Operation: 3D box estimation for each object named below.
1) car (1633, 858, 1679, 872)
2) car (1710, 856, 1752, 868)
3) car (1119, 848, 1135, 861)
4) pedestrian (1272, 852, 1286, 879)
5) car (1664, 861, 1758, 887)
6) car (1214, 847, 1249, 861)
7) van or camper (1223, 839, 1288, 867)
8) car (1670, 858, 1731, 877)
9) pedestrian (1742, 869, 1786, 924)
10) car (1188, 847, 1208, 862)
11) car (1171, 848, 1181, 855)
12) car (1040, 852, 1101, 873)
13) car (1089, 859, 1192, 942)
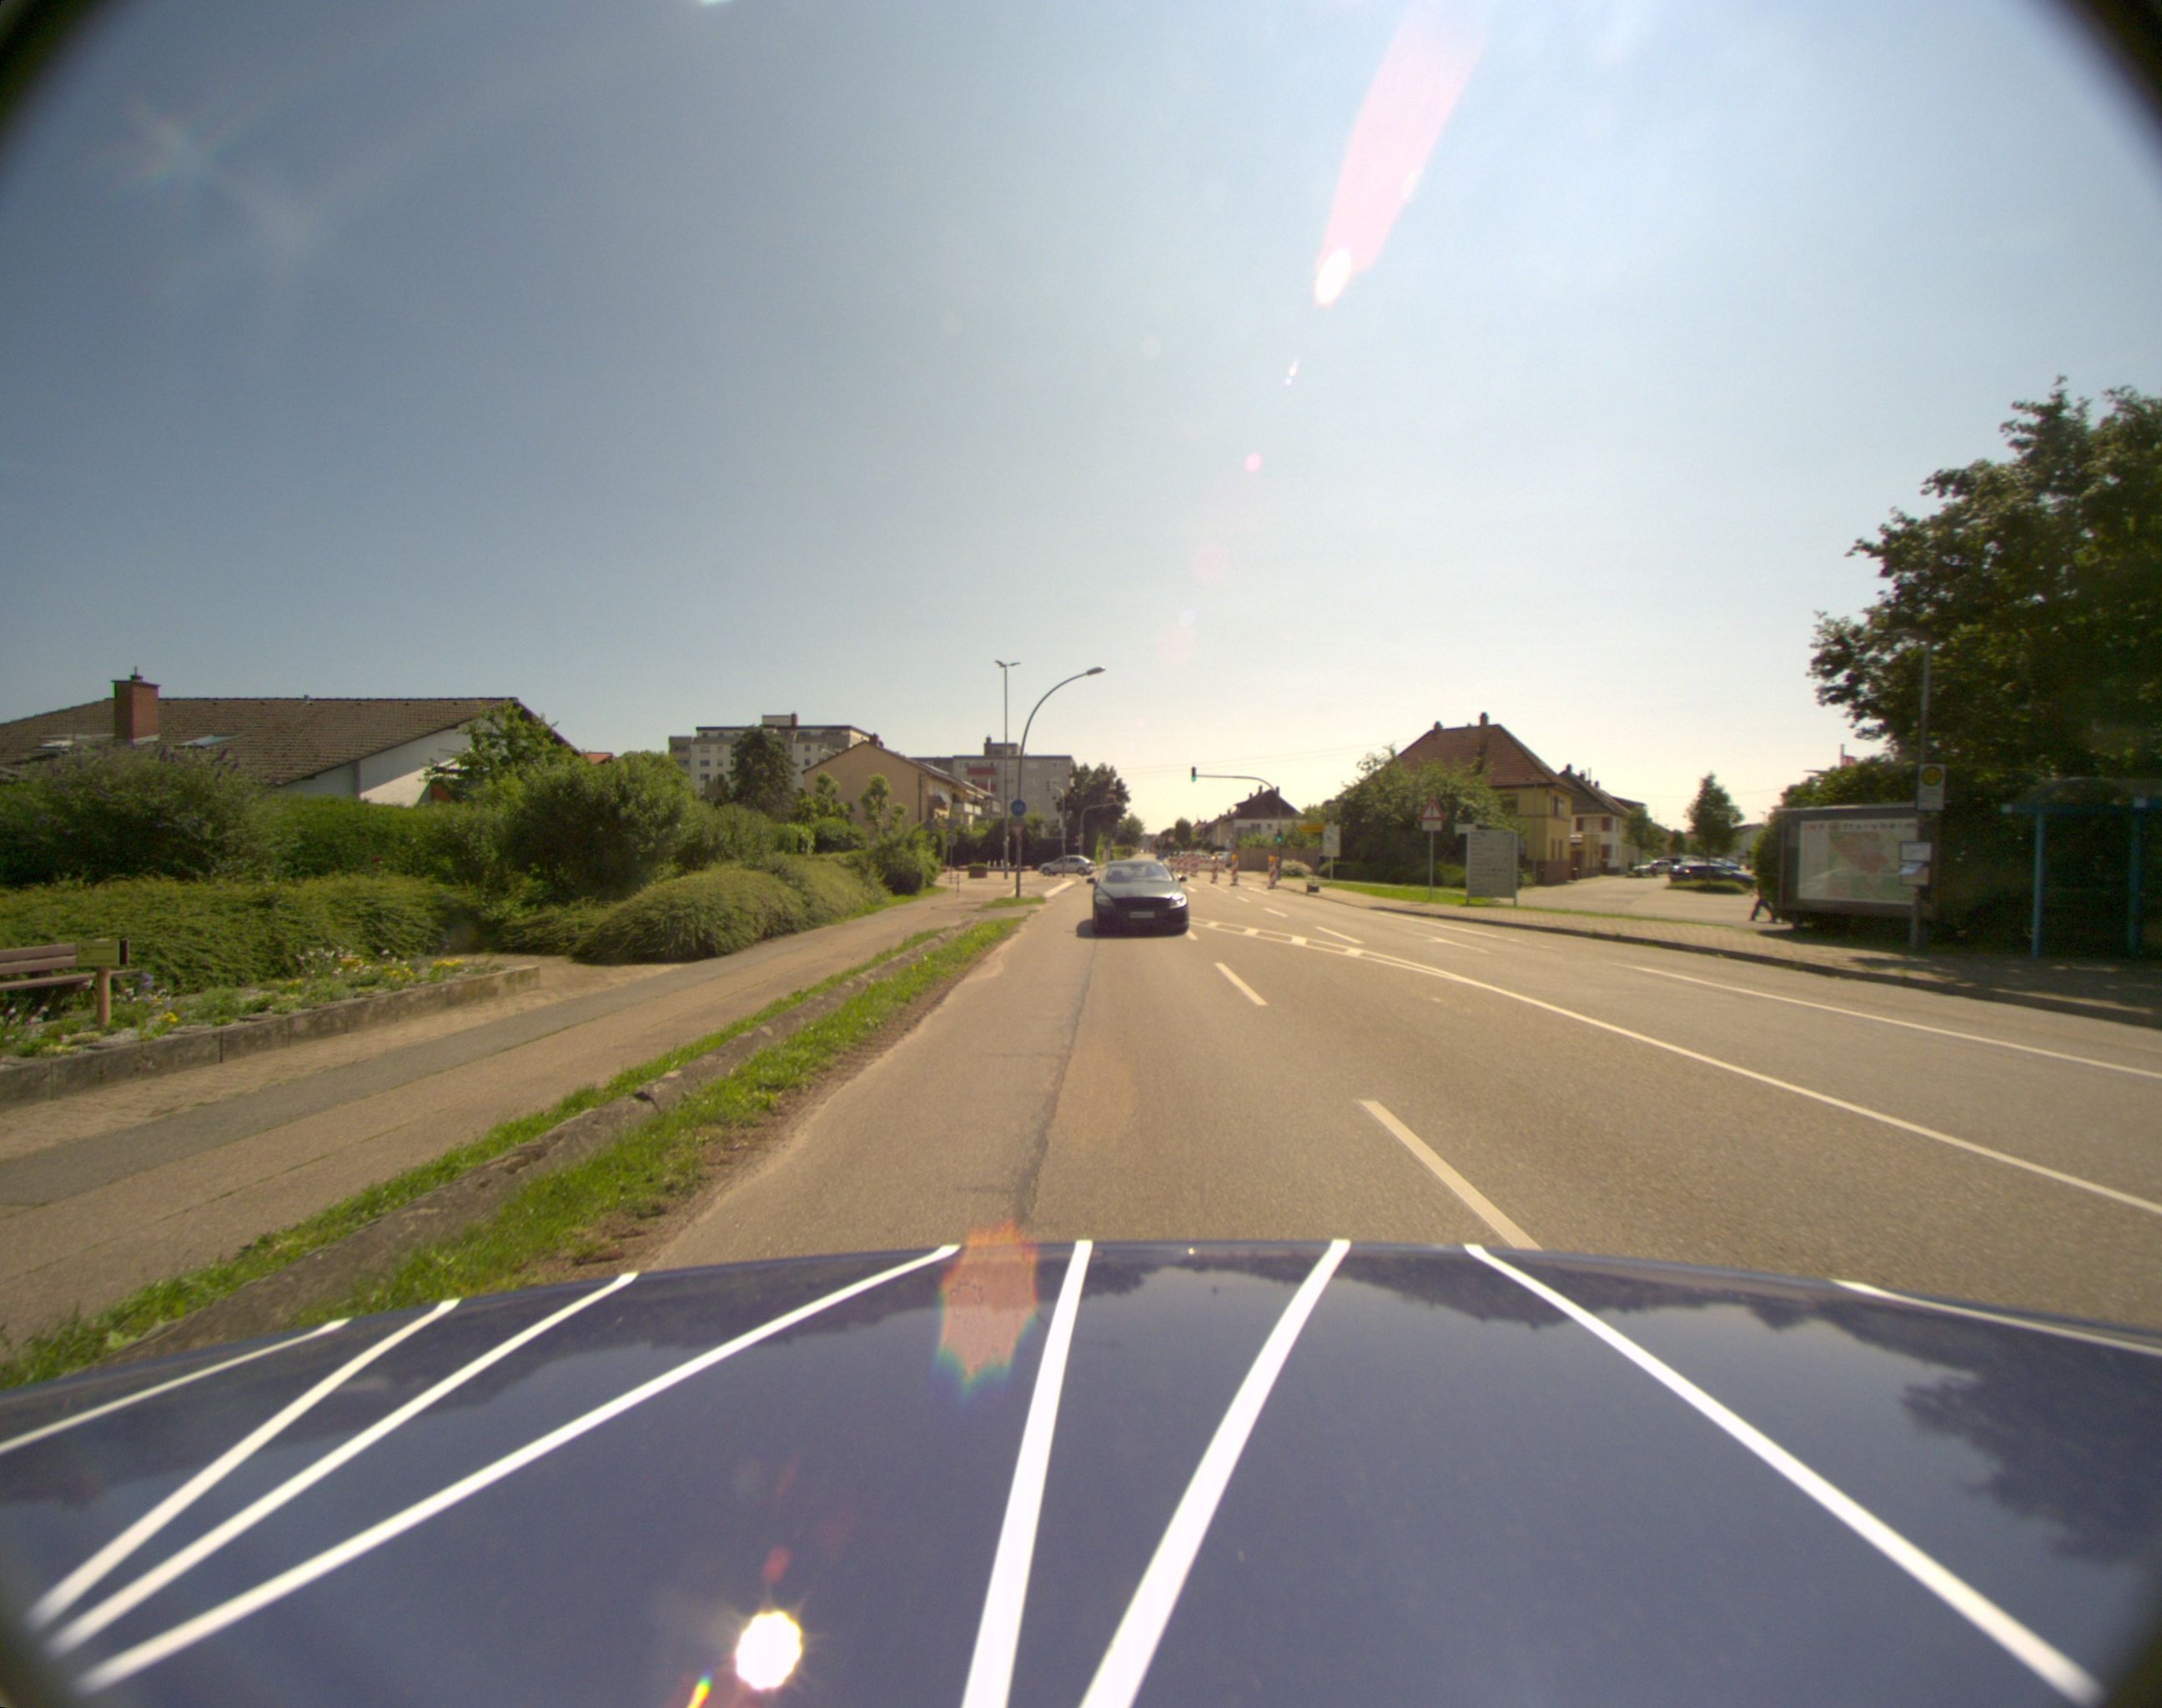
[{"bbox_3d":[59.756,1.148,78.978,3.562,1.405,1.382,1,1,4],"label":"car"},{"bbox_3d":[75.653,0.914,88.484,3.556,1.405,1.384,1,1,33],"label":"car"},{"bbox_3d":[5.741,0.053,96.097,1.871,1.586,4.616,1,1,2],"label":"car"},{"bbox_3d":[11.713,0.668,44.909,0.615,1.598,0.688,-3,1,4],"label":"pedestrian"},{"bbox_3d":[37.892,1.187,45.767,3.994,1.452,1.804,-1,1,8],"label":"car"},{"bbox_3d":[18.646,-0.012,94.442,3.998,1.607,1.768,0,1,-2],"label":"car"},{"bbox_3d":[18.369,-0.128,80.161,6.261,2.828,2.289,1,1,-5],"label":"van or camper"},{"bbox_3d":[45.564,0.987,55.937,3.329,1.324,1.424,0,1,33],"label":"car"},{"bbox_3d":[22.606,1.395,25.159,0.957,1.730,0.817,1,1,34],"label":"pedestrian"},{"bbox_3d":[14.100,0.040,91.710,1.862,1.581,4.228,2,1,2],"label":"car"},{"bbox_3d":[19.070,-0.528,153.074,1.739,1.409,3.917,0,1,2],"label":"car"},{"bbox_3d":[-0.733,0.594,54.160,3.971,1.395,1.707,0,1,16],"label":"car"},{"bbox_3d":[1.243,0.886,16.546,1.888,1.429,4.839,-1,1,3],"label":"car"}]
